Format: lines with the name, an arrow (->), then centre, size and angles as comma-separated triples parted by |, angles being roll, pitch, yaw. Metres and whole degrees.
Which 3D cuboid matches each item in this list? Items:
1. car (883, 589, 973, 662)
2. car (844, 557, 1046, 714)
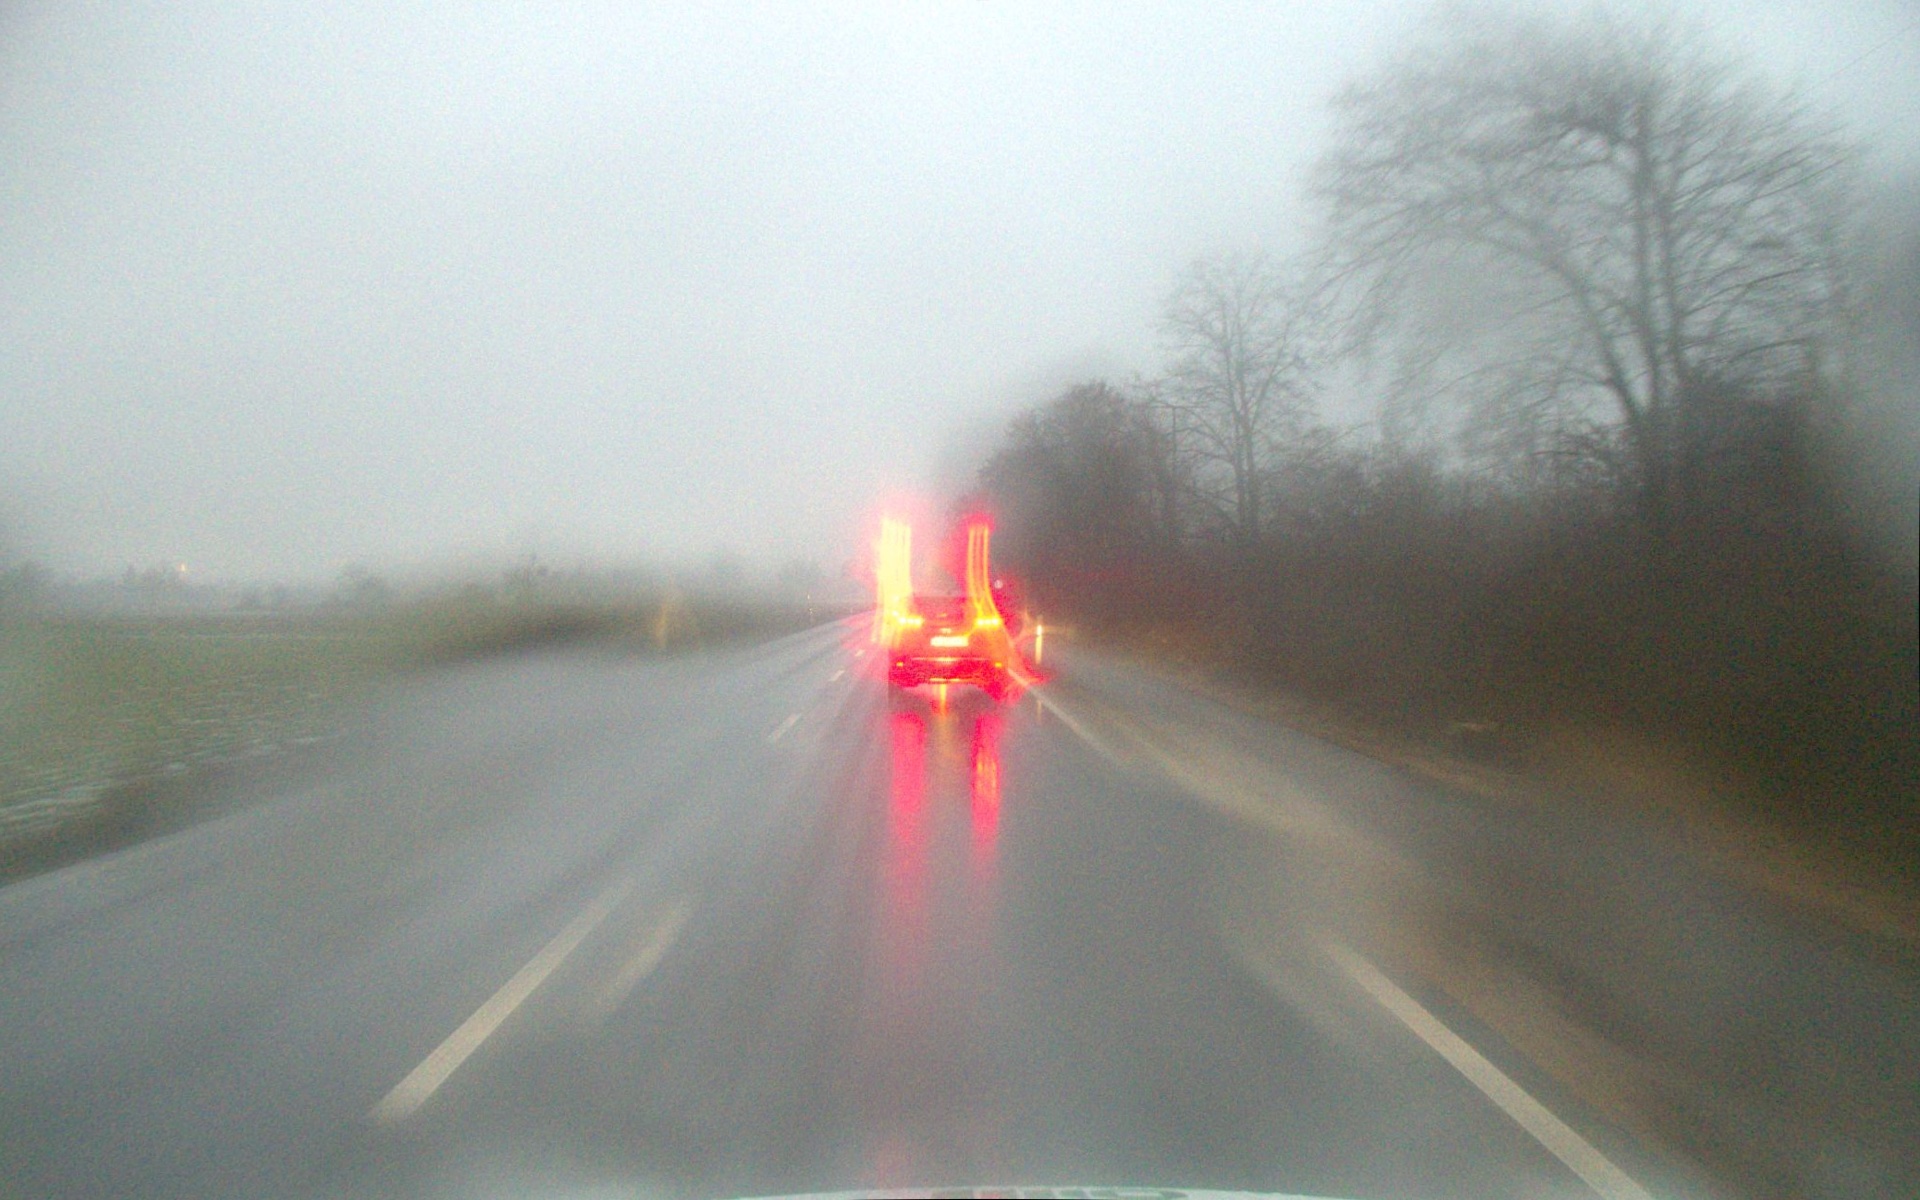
car -> -0.953, 0.731, 50.252 | 2.539, 2.049, 5.803 | 1, 0, -1
car -> -0.242, 0.503, 25.822 | 2.763, 2.113, 5.803 | 1, 0, -1
